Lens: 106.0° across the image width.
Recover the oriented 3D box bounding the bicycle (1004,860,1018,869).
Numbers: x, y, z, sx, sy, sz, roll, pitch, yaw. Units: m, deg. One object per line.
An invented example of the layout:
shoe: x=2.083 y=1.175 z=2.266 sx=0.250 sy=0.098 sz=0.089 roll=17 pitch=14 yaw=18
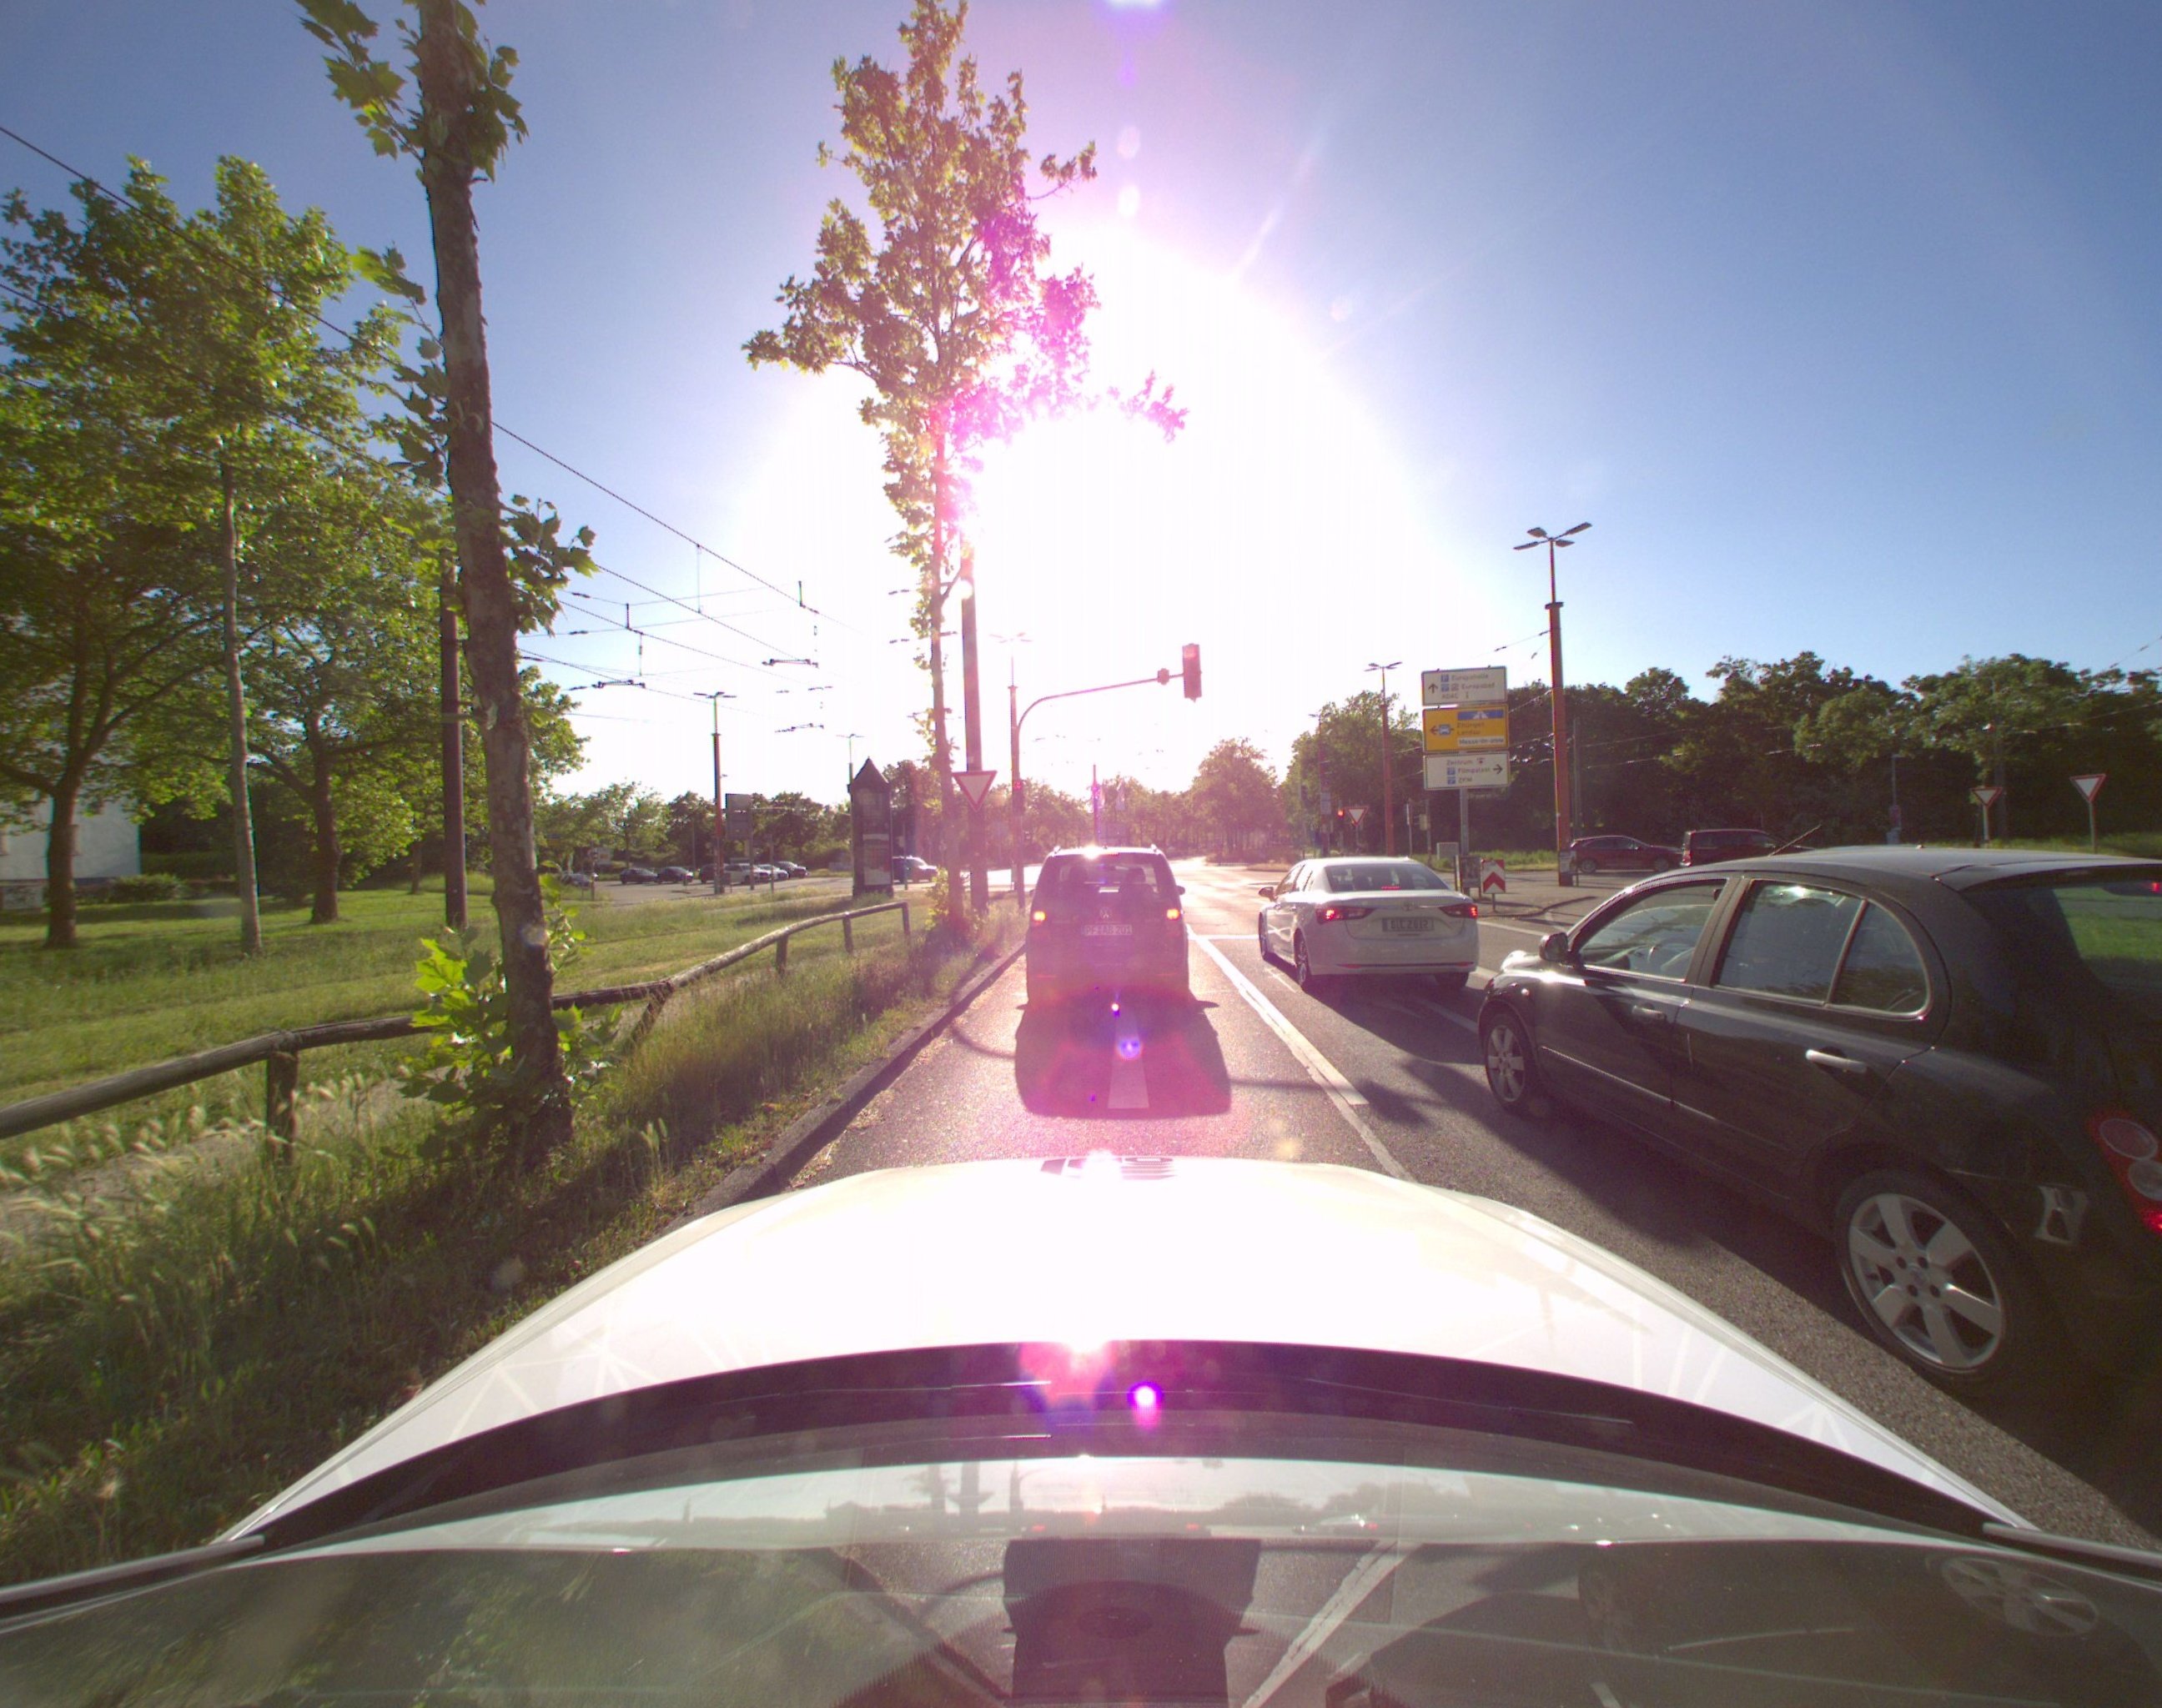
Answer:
bicycle: x=-8.138 y=1.227 z=94.793 sx=0.728 sy=1.090 sz=1.971 roll=-2 pitch=0 yaw=21

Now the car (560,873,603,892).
car: x=-39.435 y=2.254 z=64.227 sx=3.710 sy=1.420 sz=1.838 roll=-2 pitch=0 yaw=41

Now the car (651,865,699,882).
car: x=-37.347 y=1.779 z=74.843 sx=4.004 sy=1.464 sz=1.926 roll=-2 pitch=0 yaw=28

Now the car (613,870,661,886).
car: x=-42.341 y=2.289 z=77.648 sx=4.187 sy=1.464 sz=1.926 roll=-2 pitch=0 yaw=28

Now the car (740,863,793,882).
car: x=-26.764 y=1.594 z=69.253 sx=4.169 sy=1.464 sz=1.926 roll=-2 pitch=0 yaw=29

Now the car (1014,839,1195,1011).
car: x=0.298 y=0.696 z=9.988 sx=1.731 sy=1.641 sz=4.002 roll=-2 pitch=0 yaw=2

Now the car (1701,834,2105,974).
car: x=10.242 y=0.539 z=10.651 sx=1.735 sy=1.469 sz=3.902 roll=-2 pitch=0 yaw=9

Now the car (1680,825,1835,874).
car: x=25.759 y=-0.154 z=31.220 sx=4.302 sy=1.732 sz=1.854 roll=-2 pitch=0 yaw=30

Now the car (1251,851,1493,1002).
car: x=3.299 y=0.719 z=10.115 sx=1.708 sy=1.454 sz=4.147 roll=-2 pitch=0 yaw=3

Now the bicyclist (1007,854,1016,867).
bicyclist: x=-8.107 y=0.761 z=95.013 sx=0.686 sy=1.457 sz=0.879 roll=-2 pitch=-1 yaw=20

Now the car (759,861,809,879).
car: x=-26.482 y=1.451 z=72.634 sx=4.169 sy=1.464 sz=1.926 roll=-2 pitch=0 yaw=29

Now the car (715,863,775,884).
car: x=-27.153 y=1.576 z=65.775 sx=4.735 sy=1.598 sz=1.926 roll=-2 pitch=0 yaw=29

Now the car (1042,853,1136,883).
car: x=0.422 y=0.797 z=45.431 sx=4.866 sy=1.575 sz=2.013 roll=-2 pitch=0 yaw=31

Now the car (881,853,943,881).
car: x=-11.844 y=0.911 z=56.816 sx=1.925 sy=1.836 sz=4.737 roll=-1 pitch=0 yaw=-44

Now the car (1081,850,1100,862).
car: x=1.471 y=0.317 z=123.223 sx=1.981 sy=1.684 sz=4.842 roll=-2 pitch=0 yaw=10

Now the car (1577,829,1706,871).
car: x=24.462 y=-0.141 z=35.765 sx=4.507 sy=1.668 sz=1.854 roll=-2 pitch=0 yaw=30

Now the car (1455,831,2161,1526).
car: x=3.169 y=0.693 z=3.512 sx=1.550 sy=1.506 sz=3.517 roll=-2 pitch=0 yaw=2
